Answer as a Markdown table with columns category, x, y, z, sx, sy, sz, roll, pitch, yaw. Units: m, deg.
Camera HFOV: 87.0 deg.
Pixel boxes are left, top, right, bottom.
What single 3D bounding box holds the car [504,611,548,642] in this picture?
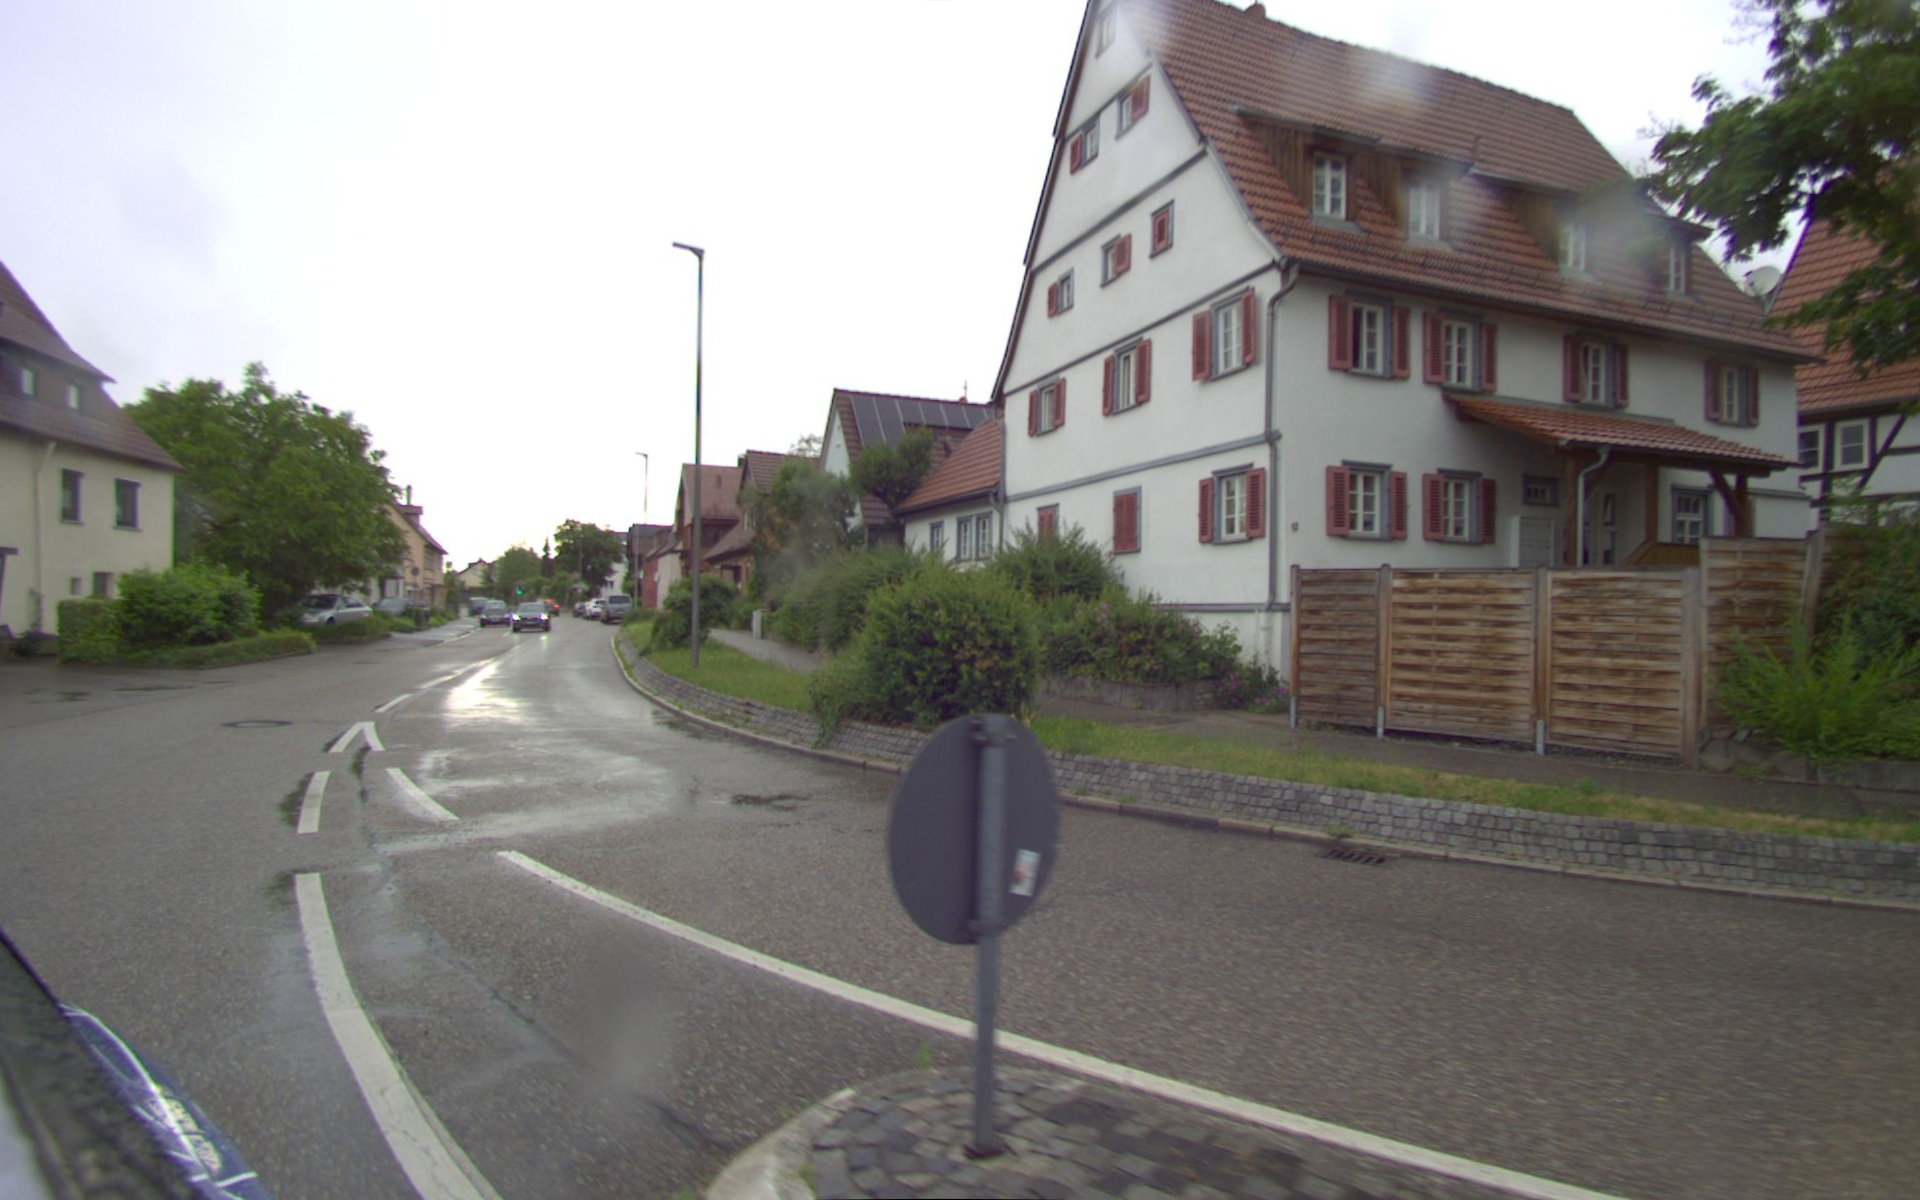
| category | x | y | z | sx | sy | sz | roll | pitch | yaw |
| --- | --- | --- | --- | --- | --- | --- | --- | --- | --- |
| car | -22.995 | 1.360 | 53.732 | 1.965 | 1.541 | 4.013 | -1 | 0 | -20 |

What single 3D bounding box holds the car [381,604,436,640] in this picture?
| category | x | y | z | sx | sy | sz | roll | pitch | yaw |
| --- | --- | --- | --- | --- | --- | --- | --- | --- | --- |
| car | -27.762 | 1.093 | 51.071 | 1.965 | 1.744 | 4.083 | 1 | -1 | -22 |

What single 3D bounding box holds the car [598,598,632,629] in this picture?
| category | x | y | z | sx | sy | sz | roll | pitch | yaw |
| --- | --- | --- | --- | --- | --- | --- | --- | --- | --- |
| car | -22.925 | 0.850 | 67.145 | 1.815 | 1.938 | 4.204 | -1 | 0 | -23 |

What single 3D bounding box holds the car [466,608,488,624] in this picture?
| category | x | y | z | sx | sy | sz | roll | pitch | yaw |
| --- | --- | --- | --- | --- | --- | --- | --- | --- | --- |
| car | -48.661 | 1.603 | 101.995 | 1.965 | 1.541 | 4.013 | -1 | 0 | -26 |

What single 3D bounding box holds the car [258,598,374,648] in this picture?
| category | x | y | z | sx | sy | sz | roll | pitch | yaw |
| --- | --- | --- | --- | --- | --- | --- | --- | --- | --- |
| car | -24.012 | 0.831 | 37.963 | 1.884 | 1.724 | 4.486 | 0 | 0 | -6 |

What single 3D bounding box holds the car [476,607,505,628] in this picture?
| category | x | y | z | sx | sy | sz | roll | pitch | yaw |
| --- | --- | --- | --- | --- | --- | --- | --- | --- | --- |
| car | -36.996 | 1.351 | 79.839 | 1.965 | 1.541 | 4.013 | -1 | 0 | -23 |

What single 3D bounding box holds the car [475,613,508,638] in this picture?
| category | x | y | z | sx | sy | sz | roll | pitch | yaw |
| --- | --- | --- | --- | --- | --- | --- | --- | --- | --- |
| car | -29.882 | 1.614 | 64.682 | 1.758 | 1.475 | 4.013 | 1 | -1 | -23 |

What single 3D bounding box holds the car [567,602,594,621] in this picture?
| category | x | y | z | sx | sy | sz | roll | pitch | yaw |
| --- | --- | --- | --- | --- | --- | --- | --- | --- | --- |
| car | -35.160 | 1.057 | 93.752 | 1.782 | 1.634 | 4.013 | 1 | -1 | -28 |

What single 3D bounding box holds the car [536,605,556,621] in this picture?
| category | x | y | z | sx | sy | sz | roll | pitch | yaw |
| --- | --- | --- | --- | --- | --- | --- | --- | --- | --- |
| car | -41.360 | 1.281 | 101.168 | 1.781 | 1.586 | 4.013 | 1 | -1 | -23 |

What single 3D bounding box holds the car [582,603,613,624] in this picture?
| category | x | y | z | sx | sy | sz | roll | pitch | yaw |
| --- | --- | --- | --- | --- | --- | --- | --- | --- | --- |
| car | -28.822 | 1.057 | 80.363 | 1.782 | 1.634 | 4.013 | 1 | -1 | -28 |
